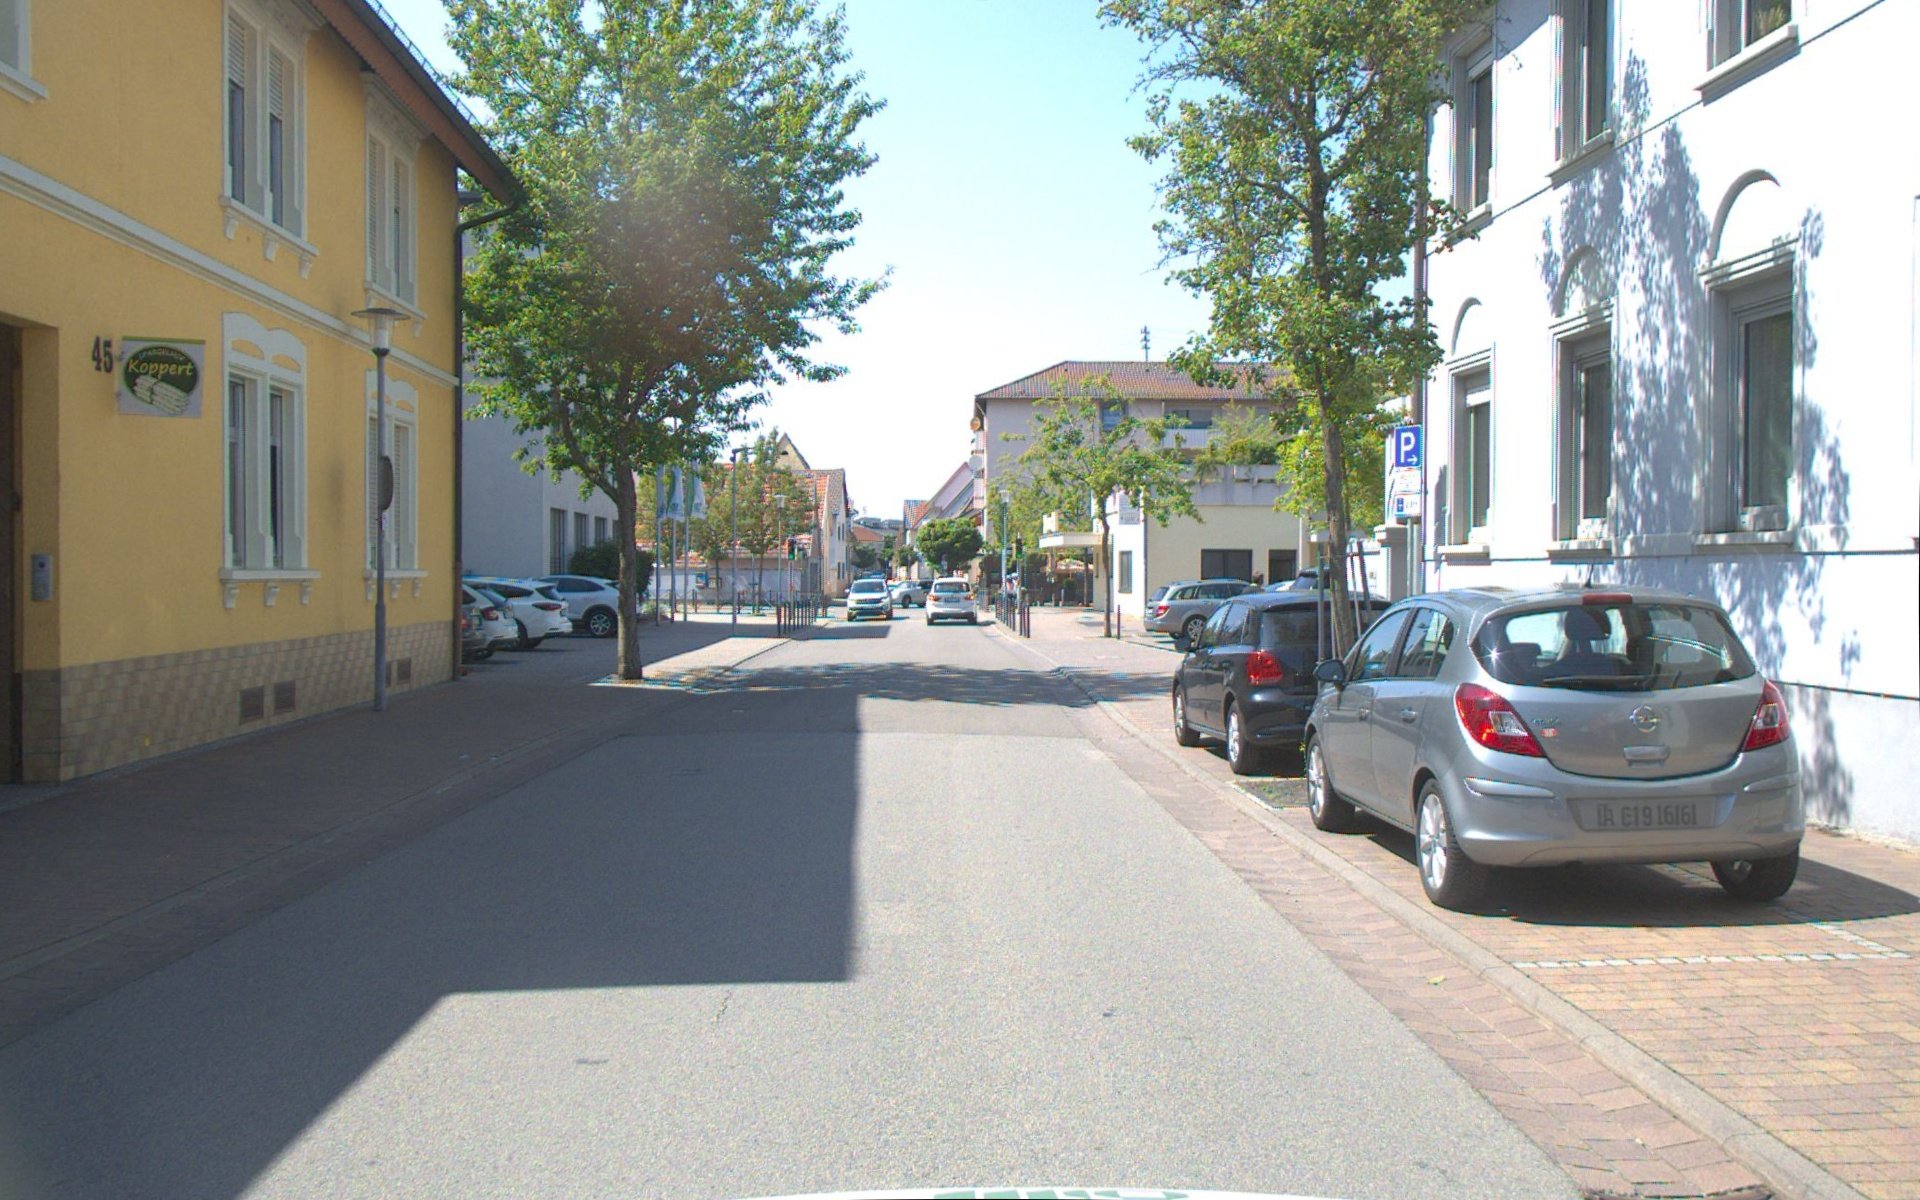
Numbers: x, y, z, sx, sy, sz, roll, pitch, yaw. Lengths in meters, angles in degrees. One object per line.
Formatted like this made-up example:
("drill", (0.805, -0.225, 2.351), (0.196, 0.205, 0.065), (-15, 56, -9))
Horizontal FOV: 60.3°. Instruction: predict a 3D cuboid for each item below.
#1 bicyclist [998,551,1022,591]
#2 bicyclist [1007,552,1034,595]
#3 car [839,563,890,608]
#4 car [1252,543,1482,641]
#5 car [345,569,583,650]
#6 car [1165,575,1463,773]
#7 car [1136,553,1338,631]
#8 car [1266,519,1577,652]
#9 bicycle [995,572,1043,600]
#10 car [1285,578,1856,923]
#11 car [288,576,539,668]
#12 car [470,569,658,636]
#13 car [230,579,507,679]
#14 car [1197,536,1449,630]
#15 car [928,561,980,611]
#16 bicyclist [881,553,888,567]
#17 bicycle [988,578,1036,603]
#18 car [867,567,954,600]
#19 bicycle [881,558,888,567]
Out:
("bicyclist", (1.989, -1.163, 66.323), (0.750, 1.609, 0.665), (0, 0, -27))
("bicyclist", (2.498, -1.099, 67.893), (0.752, 1.692, 0.663), (-5, 2, -32))
("car", (-3.736, -0.593, 65.474), (1.814, 1.600, 4.000), (-3, 2, -1))
("car", (7.385, -0.173, 30.180), (3.660, 1.477, 1.742), (-4, 2, -8))
("car", (-10.405, 0.186, 34.944), (4.413, 1.581, 1.934), (1, 1, -2))
("car", (2.986, 0.570, 14.774), (1.669, 1.507, 3.920), (1, 0, -2))
("car", (6.820, -0.225, 40.917), (4.490, 1.538, 1.913), (-5, 1, -8))
("car", (7.678, -0.273, 27.850), (4.538, 1.801, 2.147), (-4, 2, -2))
("bicycle", (2.435, -0.561, 67.847), (1.873, 0.974, 0.668), (-6, 3, -33))
("car", (3.073, 0.639, 9.282), (1.682, 1.507, 4.095), (0, 0, 0))
("car", (-9.806, 0.366, 29.913), (3.908, 1.476, 1.807), (-1, 2, -4))
("car", (-10.313, 0.041, 43.320), (4.417, 1.581, 2.147), (-1, 1, -3))
("car", (-9.697, 0.441, 27.414), (3.910, 1.456, 1.970), (-1, 2, -6))
("car", (7.123, -0.350, 32.657), (4.451, 1.465, 1.837), (-5, 2, -8))
("car", (-0.234, -0.529, 59.019), (1.796, 1.680, 4.000), (0, 2, -1))
("bicyclist", (-8.630, -4.589, 189.003), (0.660, 1.508, 0.770), (-1, 1, -4))
("bicycle", (2.083, -0.377, 66.374), (1.868, 0.974, 0.670), (0, 0, -28))
("car", (-2.521, -0.872, 85.482), (1.855, 1.489, 4.406), (-1, 2, 44))
("bicycle", (-8.636, -4.254, 189.040), (0.651, 1.023, 1.896), (-1, 2, -4))
